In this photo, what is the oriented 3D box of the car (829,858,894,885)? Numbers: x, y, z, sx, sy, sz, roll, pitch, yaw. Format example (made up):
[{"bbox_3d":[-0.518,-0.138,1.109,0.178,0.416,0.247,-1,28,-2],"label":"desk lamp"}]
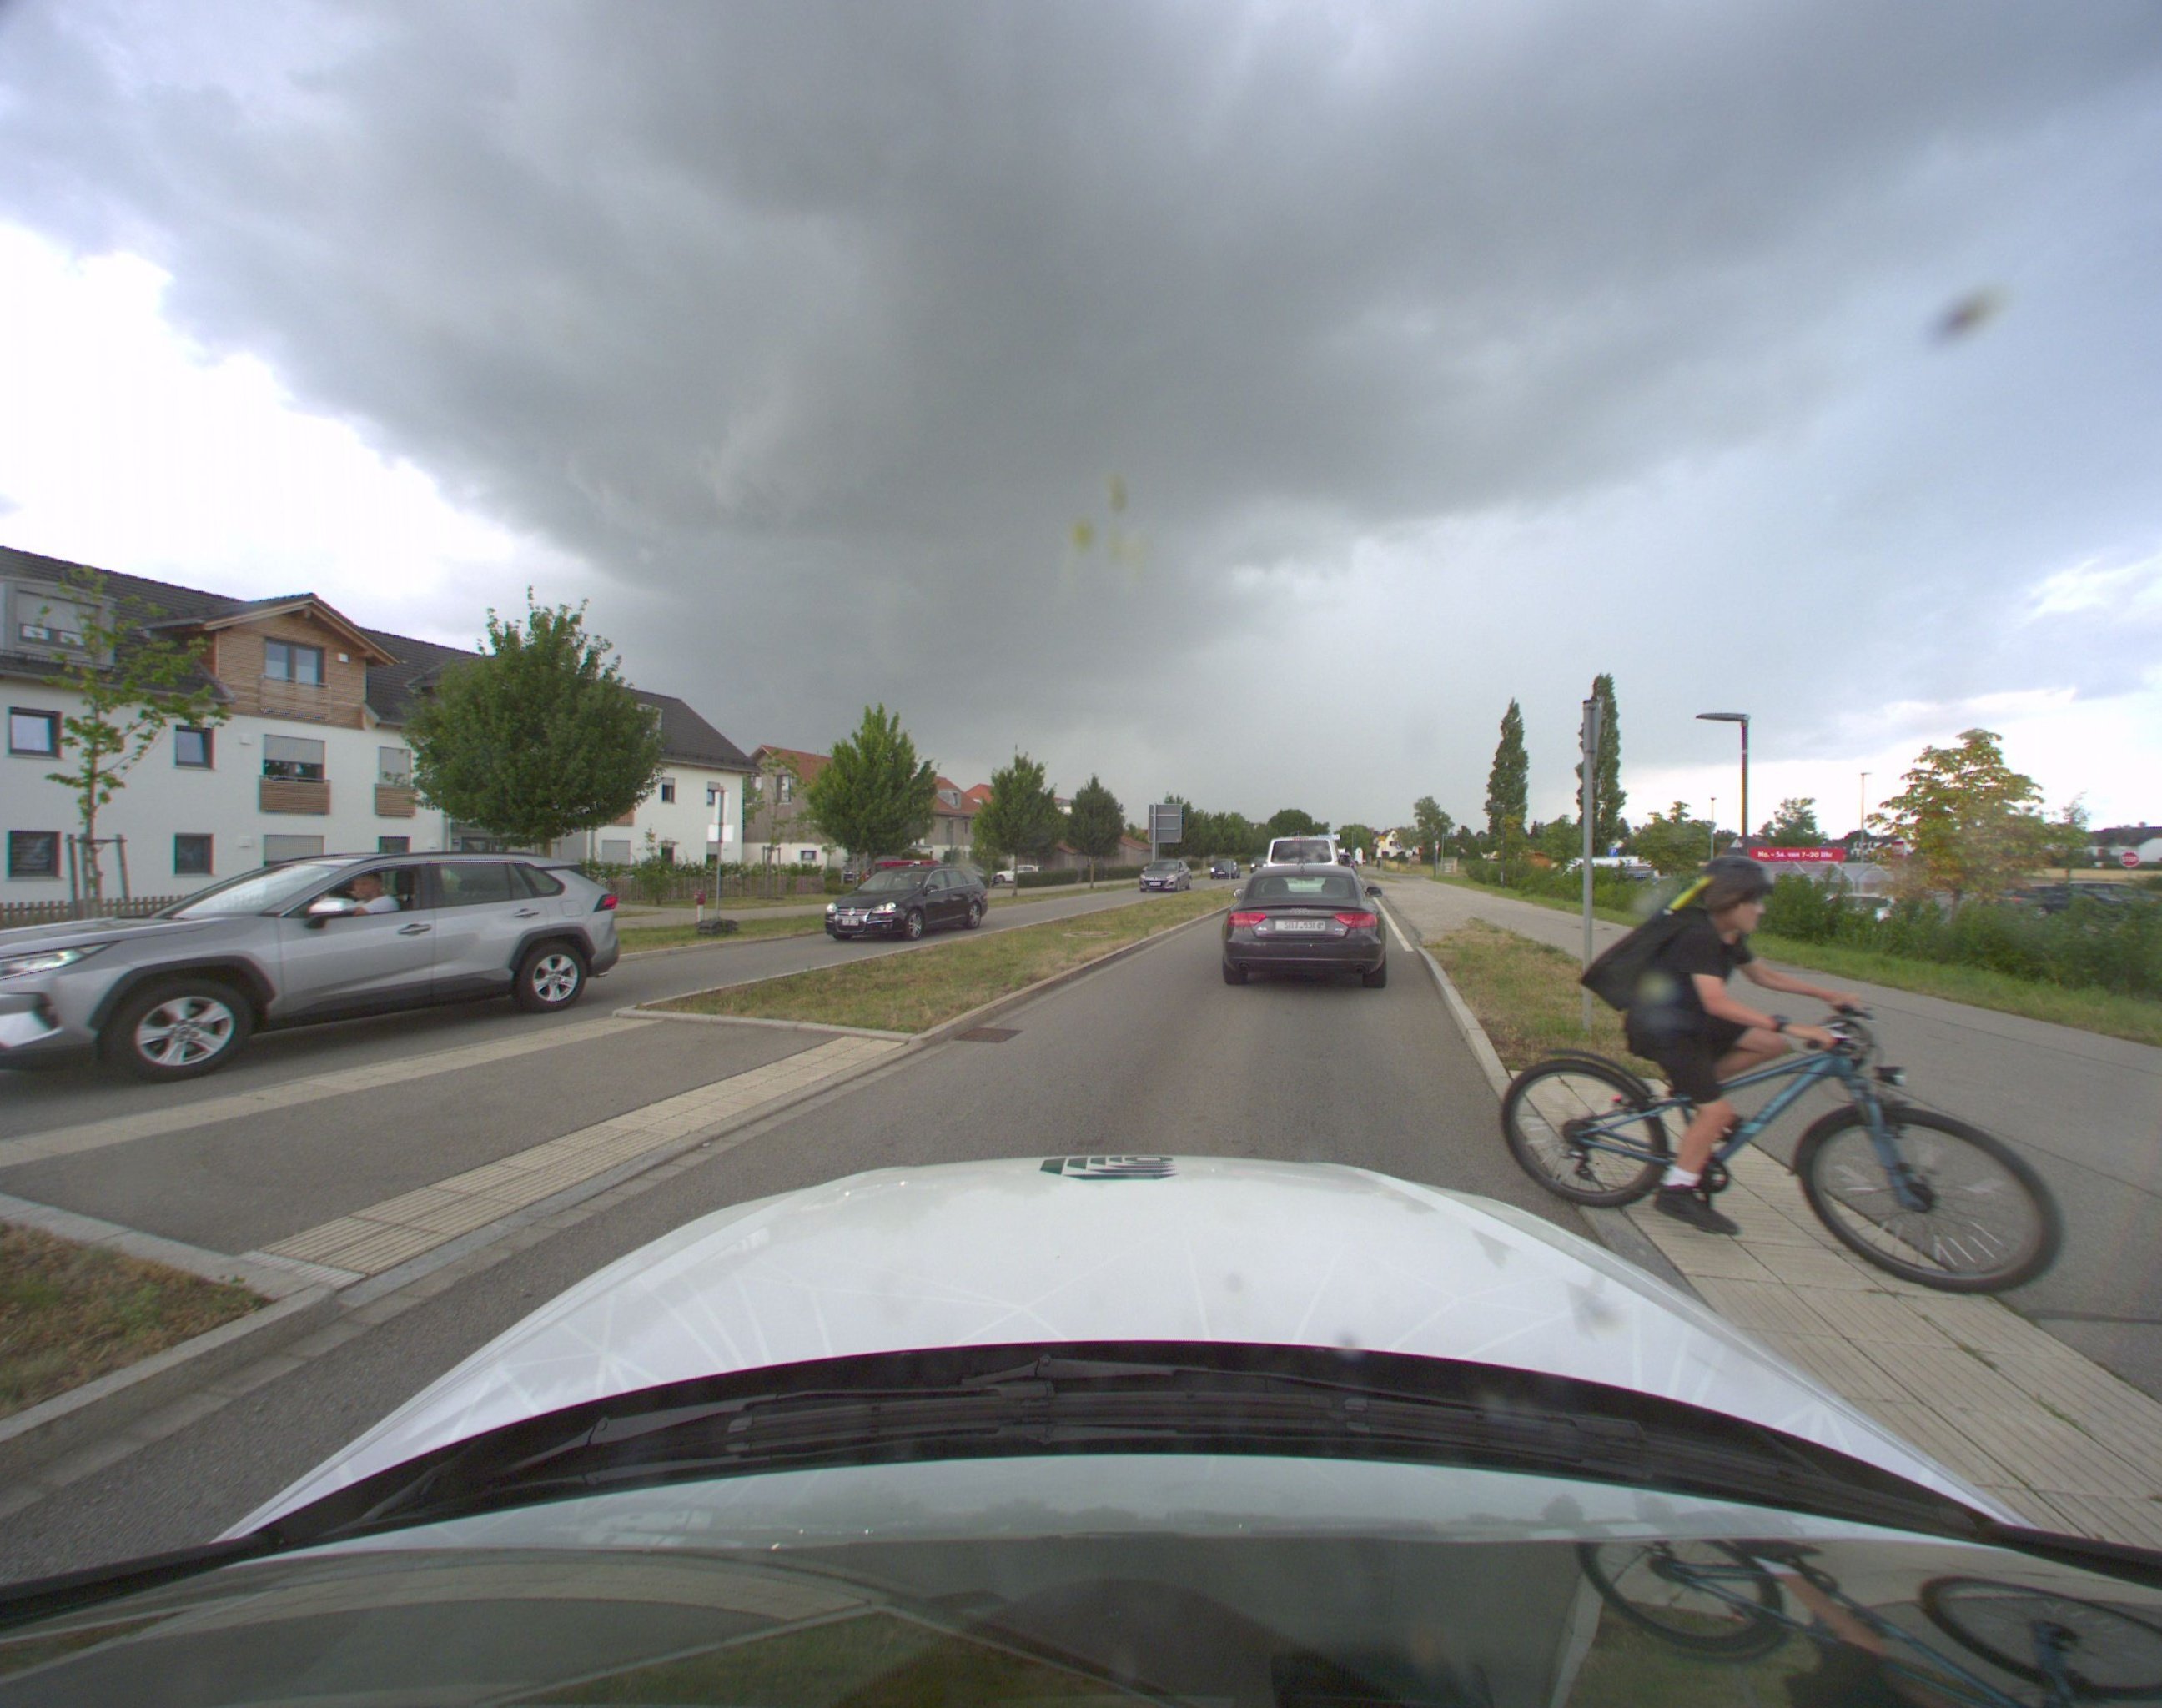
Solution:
[{"bbox_3d":[-15.174,1.217,56.538,1.976,1.772,4.489,0,-1,23],"label":"car"}]

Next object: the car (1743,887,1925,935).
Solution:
[{"bbox_3d":[26.013,1.921,28.315,4.199,1.440,2.009,0,0,18],"label":"car"}]

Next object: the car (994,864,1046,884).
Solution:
[{"bbox_3d":[-4.850,1.563,64.612,3.702,1.482,1.693,1,0,15],"label":"car"}]

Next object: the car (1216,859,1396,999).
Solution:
[{"bbox_3d":[2.867,0.778,10.389,1.770,1.391,4.150,-1,0,16],"label":"car"}]

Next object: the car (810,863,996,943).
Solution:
[{"bbox_3d":[-3.506,0.926,17.020,1.739,1.416,4.476,-2,-1,18],"label":"car"}]

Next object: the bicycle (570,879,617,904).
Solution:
[{"bbox_3d":[-17.742,1.349,29.690,0.364,0.843,1.554,3,0,20],"label":"bicycle"}]

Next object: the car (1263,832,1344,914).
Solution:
[{"bbox_3d":[5.906,0.457,21.553,1.853,1.934,4.017,1,0,16],"label":"car"}]

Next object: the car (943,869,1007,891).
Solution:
[{"bbox_3d":[-7.163,1.746,55.187,3.885,1.315,1.850,1,0,15],"label":"car"}]

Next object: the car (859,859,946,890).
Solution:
[{"bbox_3d":[-10.337,1.175,47.233,4.492,1.680,2.010,0,0,21],"label":"car"}]

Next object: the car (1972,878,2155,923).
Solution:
[{"bbox_3d":[40.777,1.877,33.968,4.520,1.664,2.009,0,0,18],"label":"car"}]

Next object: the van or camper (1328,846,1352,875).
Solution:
[{"bbox_3d":[30.999,0.823,97.454,2.604,3.324,6.851,1,-1,17],"label":"van or camper"}]

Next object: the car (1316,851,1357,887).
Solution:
[{"bbox_3d":[12.033,0.672,38.255,1.762,1.618,4.019,0,0,19],"label":"car"}]

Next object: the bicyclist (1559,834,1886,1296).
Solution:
[{"bbox_3d":[2.361,0.664,3.097,0.858,1.446,0.729,-1,-1,35],"label":"bicyclist"}]

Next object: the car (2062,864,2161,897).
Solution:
[{"bbox_3d":[65.916,1.674,51.834,3.953,1.837,2.010,3,0,22],"label":"car"}]

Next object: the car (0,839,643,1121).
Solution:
[{"bbox_3d":[-6.706,0.772,7.391,1.977,1.704,4.658,0,0,20],"label":"car"}]

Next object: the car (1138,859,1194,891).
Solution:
[{"bbox_3d":[4.004,0.935,37.897,1.716,1.410,4.225,0,0,18],"label":"car"}]

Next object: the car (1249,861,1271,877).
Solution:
[{"bbox_3d":[17.736,1.449,80.694,1.853,1.574,4.017,0,0,16],"label":"car"}]

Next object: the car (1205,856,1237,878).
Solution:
[{"bbox_3d":[10.304,0.943,59.618,1.853,1.574,4.017,0,0,16],"label":"car"}]

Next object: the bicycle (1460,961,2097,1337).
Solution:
[{"bbox_3d":[2.411,0.955,3.077,1.691,0.946,0.500,-1,-1,35],"label":"bicycle"}]

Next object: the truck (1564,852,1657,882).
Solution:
[{"bbox_3d":[34.829,0.838,53.703,4.762,1.872,2.007,1,-1,13],"label":"truck"}]

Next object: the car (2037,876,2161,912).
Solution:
[{"bbox_3d":[48.247,1.849,38.093,4.277,1.578,1.776,0,0,20],"label":"car"}]

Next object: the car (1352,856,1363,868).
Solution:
[{"bbox_3d":[40.745,1.171,119.963,1.600,1.631,3.633,1,0,19],"label":"car"}]
